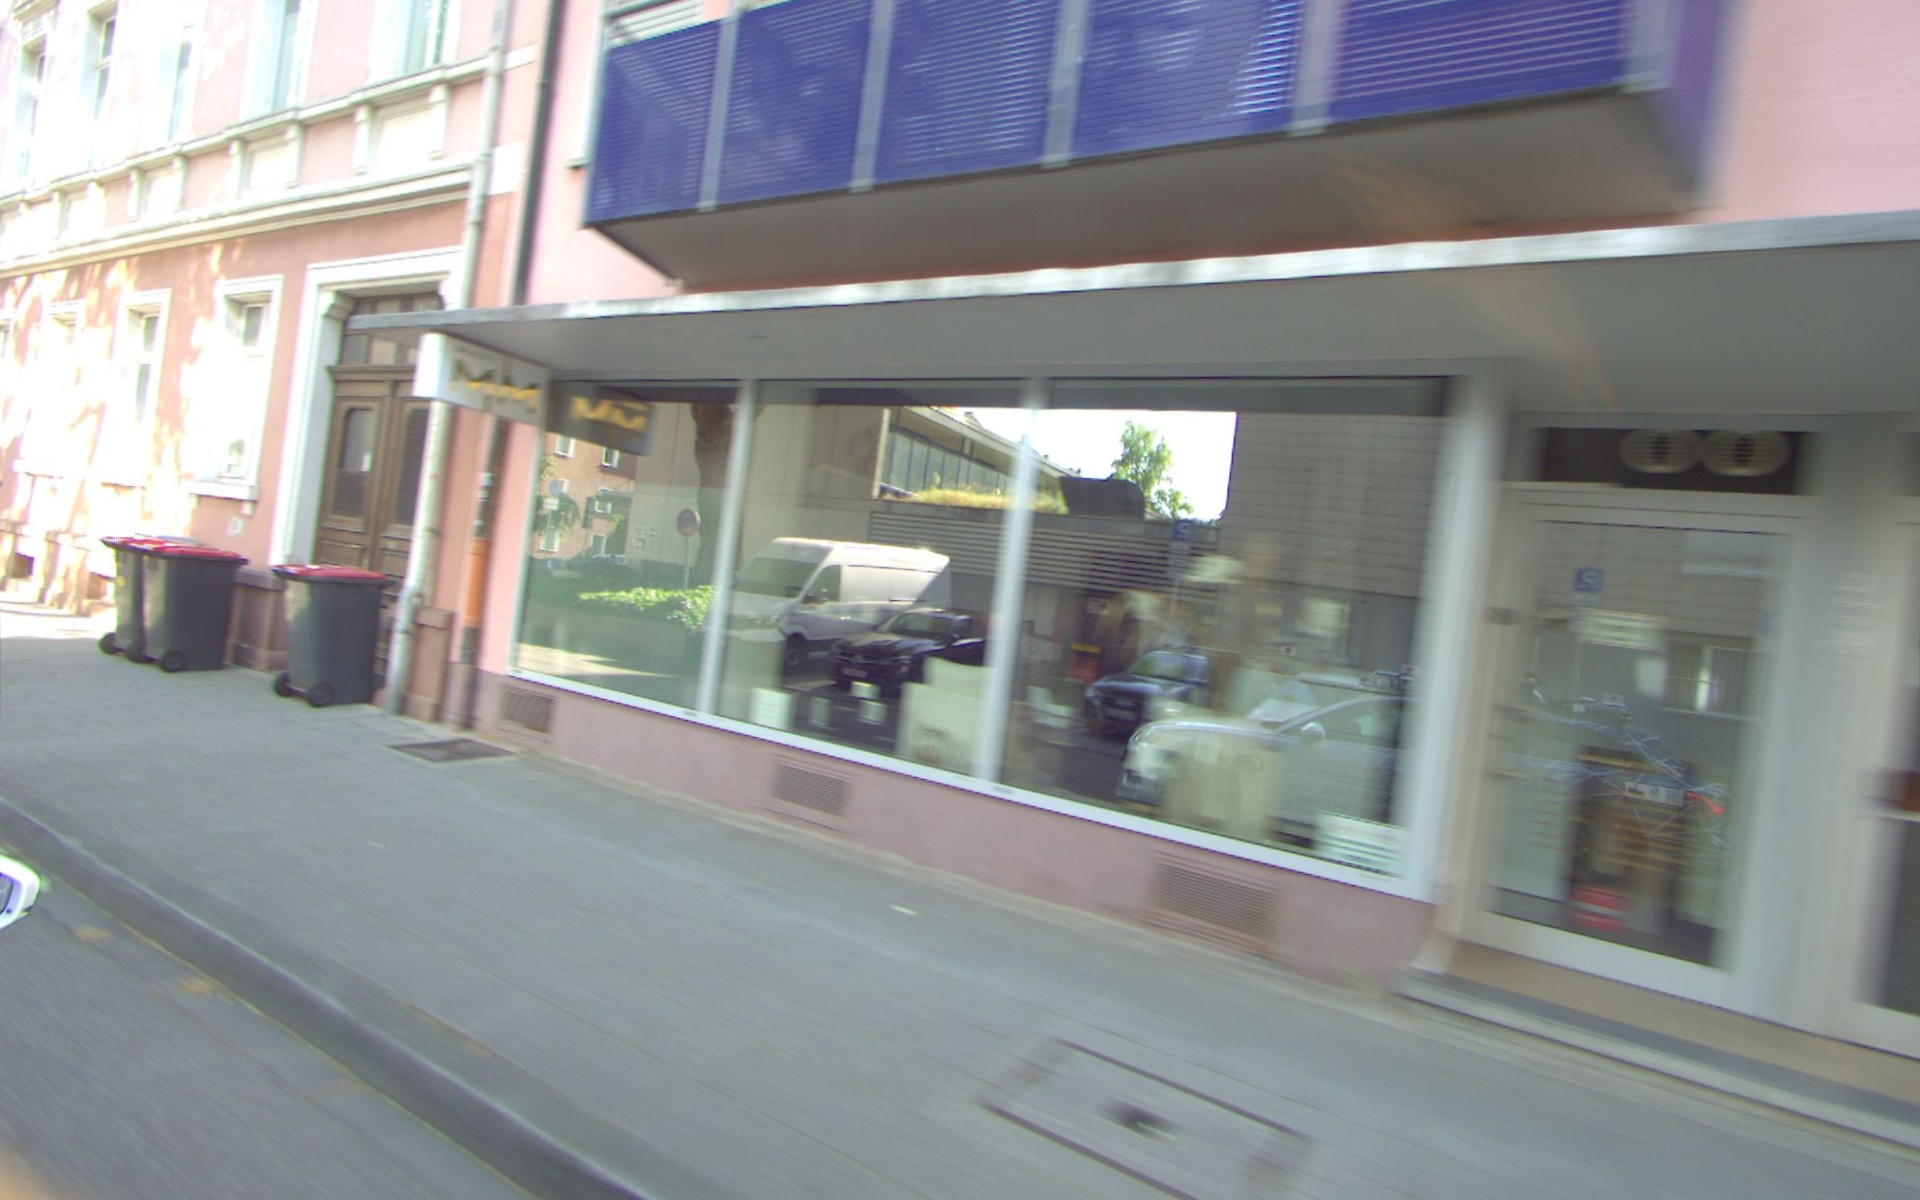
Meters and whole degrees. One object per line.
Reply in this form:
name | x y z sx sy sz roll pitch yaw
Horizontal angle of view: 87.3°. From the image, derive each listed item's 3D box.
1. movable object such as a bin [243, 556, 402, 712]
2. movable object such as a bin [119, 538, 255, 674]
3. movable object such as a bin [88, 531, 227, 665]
movable object such as a bin | -5.028 0.274 7.951 0.681 1.117 0.731 7 0 30
movable object such as a bin | -6.746 0.062 8.790 0.587 1.086 0.702 7 0 33
movable object such as a bin | -7.268 -0.005 9.120 0.624 1.099 0.746 7 0 33
